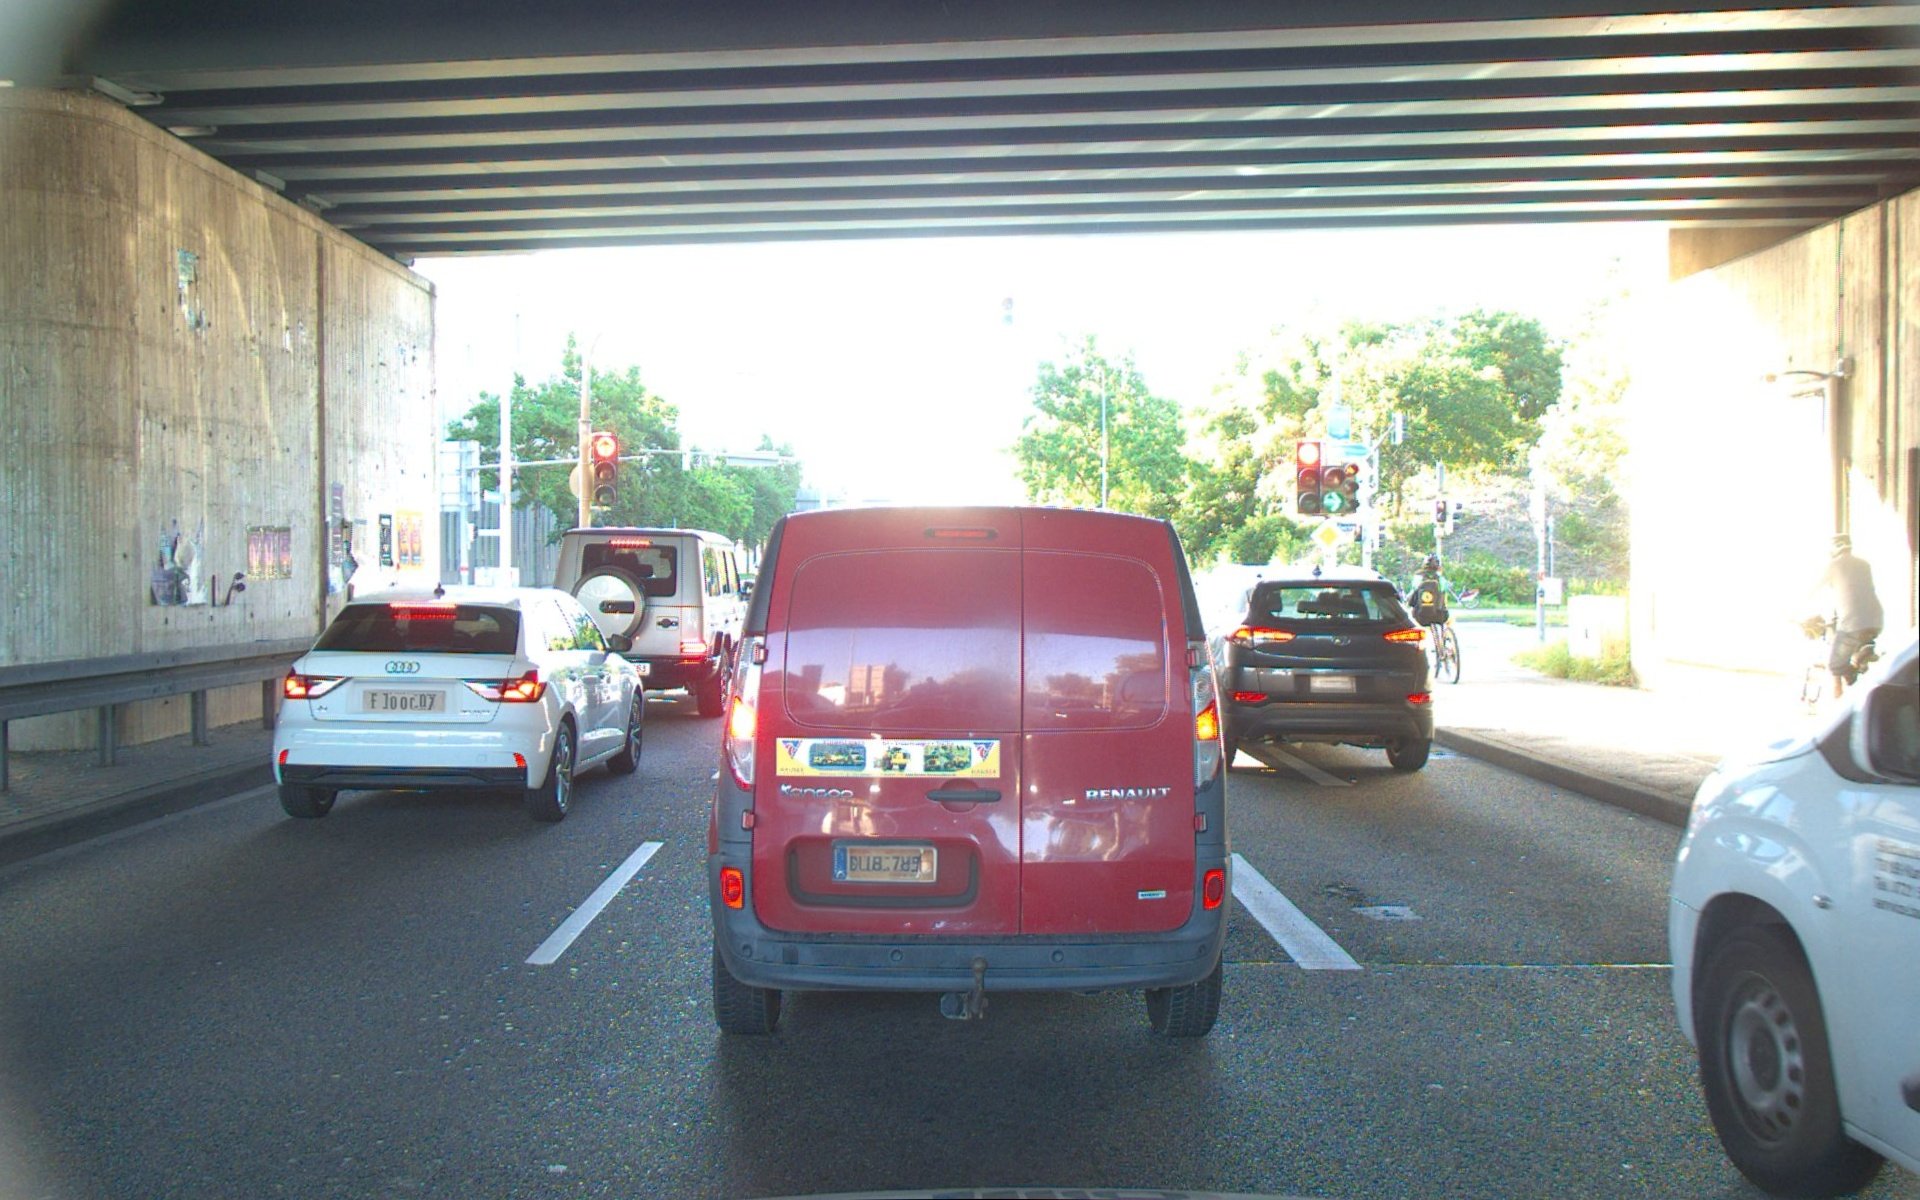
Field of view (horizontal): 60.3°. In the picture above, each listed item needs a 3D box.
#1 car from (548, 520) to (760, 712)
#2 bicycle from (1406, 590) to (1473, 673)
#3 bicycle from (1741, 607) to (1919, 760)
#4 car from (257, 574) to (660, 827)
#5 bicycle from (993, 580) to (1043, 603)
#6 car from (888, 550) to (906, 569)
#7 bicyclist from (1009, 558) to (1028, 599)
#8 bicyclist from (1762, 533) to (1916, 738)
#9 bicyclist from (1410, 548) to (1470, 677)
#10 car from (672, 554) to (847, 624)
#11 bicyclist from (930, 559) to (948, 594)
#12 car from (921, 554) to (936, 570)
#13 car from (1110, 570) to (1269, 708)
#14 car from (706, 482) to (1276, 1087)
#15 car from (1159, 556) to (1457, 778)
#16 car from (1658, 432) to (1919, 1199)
[{"bbox_3d":[-3.361,0.155,18.854,1.777,1.937,3.812,1,0,-2],"label":"car"},{"bbox_3d":[6.322,0.408,21.864,0.662,1.042,1.530,1,0,10],"label":"bicycle"},{"bbox_3d":[7.005,0.624,13.180,0.687,1.076,1.760,-2,1,-1],"label":"bicycle"},{"bbox_3d":[-3.232,0.568,11.431,1.658,1.434,3.812,1,0,-1],"label":"car"},{"bbox_3d":[2.247,-0.326,63.940,1.913,0.889,0.699,0,0,-1],"label":"bicycle"},{"bbox_3d":[-7.260,-4.726,191.573,1.953,2.049,3.999,1,0,-1],"label":"car"},{"bbox_3d":[2.259,-0.838,63.943,0.739,1.569,0.696,0,0,0],"label":"bicyclist"},{"bbox_3d":[6.992,0.273,13.196,0.681,1.550,0.909,-2,0,-1],"label":"bicyclist"},{"bbox_3d":[6.324,0.164,21.814,0.663,1.657,0.644,1,0,10],"label":"bicyclist"},{"bbox_3d":[-5.076,-0.274,42.078,4.264,1.635,1.997,1,0,-7],"label":"car"},{"bbox_3d":[-0.813,-0.906,64.619,0.640,1.352,0.602,1,0,-4],"label":"bicyclist"},{"bbox_3d":[-4.197,-5.076,220.668,1.953,2.049,3.999,1,0,-1],"label":"car"},{"bbox_3d":[2.882,0.420,21.422,1.618,1.579,3.865,1,1,2],"label":"car"},{"bbox_3d":[0.068,0.545,6.966,1.684,1.795,3.999,1,0,-1],"label":"car"},{"bbox_3d":[2.924,0.492,14.738,1.742,1.684,3.990,-1,1,-1],"label":"car"},{"bbox_3d":[3.002,0.600,2.685,1.777,1.865,4.299,1,1,-2],"label":"car"}]
